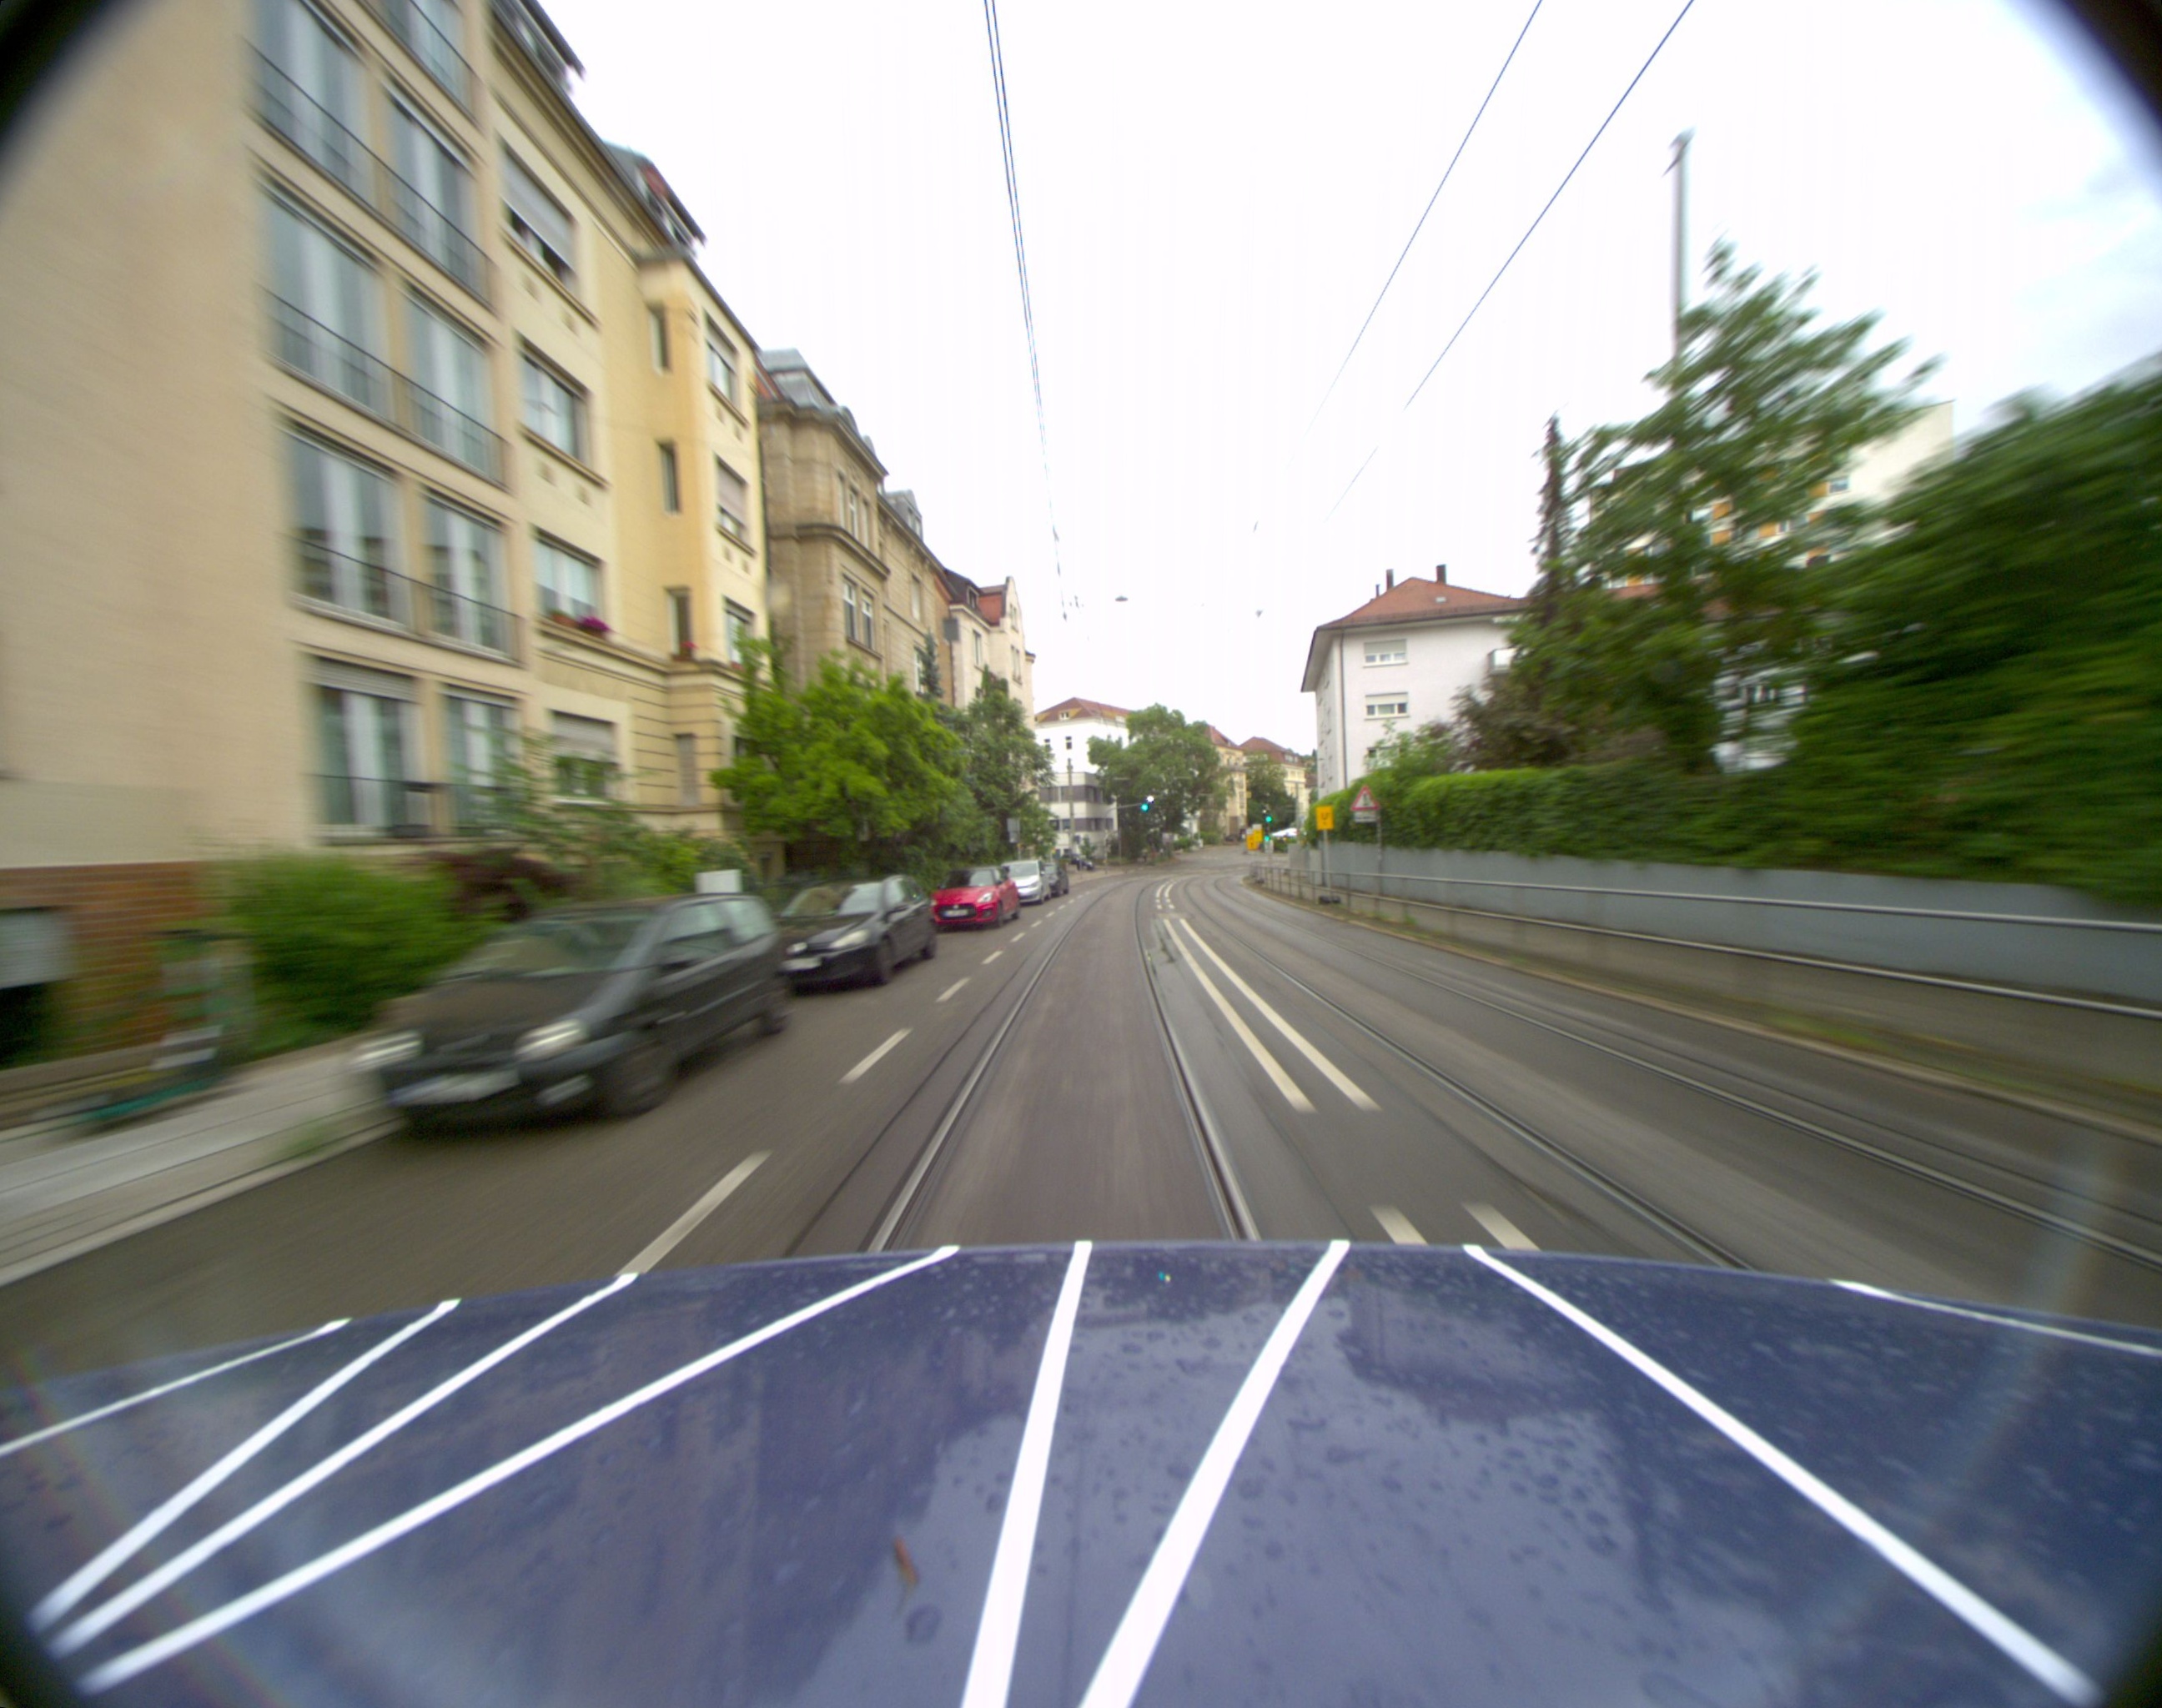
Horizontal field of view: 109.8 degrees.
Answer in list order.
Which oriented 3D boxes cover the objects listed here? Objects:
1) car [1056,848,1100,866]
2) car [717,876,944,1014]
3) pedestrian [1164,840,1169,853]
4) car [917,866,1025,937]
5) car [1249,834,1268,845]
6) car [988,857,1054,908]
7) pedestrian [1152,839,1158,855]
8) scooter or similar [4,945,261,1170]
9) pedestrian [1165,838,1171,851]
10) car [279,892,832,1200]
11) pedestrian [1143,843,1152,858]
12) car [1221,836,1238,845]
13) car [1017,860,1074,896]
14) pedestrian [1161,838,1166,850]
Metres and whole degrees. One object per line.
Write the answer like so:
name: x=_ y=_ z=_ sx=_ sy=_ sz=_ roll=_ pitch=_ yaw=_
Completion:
car: x=-0.244 y=0.283 z=69.628 sx=3.662 sy=1.500 sz=1.739 roll=1 pitch=2 yaw=17
car: x=-3.325 y=1.138 z=10.995 sx=1.687 sy=1.428 sz=4.065 roll=-3 pitch=0 yaw=3
pedestrian: x=10.964 y=-0.936 z=97.587 sx=0.544 sy=1.620 sz=0.603 roll=-1 pitch=-1 yaw=25
car: x=-2.630 y=1.105 z=19.023 sx=1.725 sy=1.428 sz=3.842 roll=-3 pitch=0 yaw=5
car: x=26.063 y=-2.145 z=111.653 sx=1.689 sy=1.434 sz=3.810 roll=1 pitch=2 yaw=30
car: x=-2.092 y=0.966 z=27.668 sx=1.770 sy=1.594 sz=4.289 roll=-2 pitch=0 yaw=3
pedestrian: x=8.832 y=-0.817 z=90.985 sx=0.542 sy=1.913 sz=0.917 roll=-1 pitch=3 yaw=13
scooter or similar: x=-6.425 y=1.307 z=5.235 sx=0.470 sy=1.227 sz=1.198 roll=0 pitch=-1 yaw=-14
pedestrian: x=10.913 y=-1.200 z=95.430 sx=0.547 sy=1.556 sz=0.600 roll=0 pitch=-1 yaw=-41
car: x=-3.654 y=1.190 z=6.415 sx=1.560 sy=1.428 sz=4.303 roll=-3 pitch=0 yaw=1
pedestrian: x=7.301 y=-0.384 z=83.063 sx=0.743 sy=1.690 sz=0.674 roll=3 pitch=1 yaw=20
car: x=25.345 y=-2.339 z=129.839 sx=1.596 sy=1.333 sz=3.642 roll=-1 pitch=-1 yaw=33
car: x=-1.468 y=1.016 z=32.922 sx=1.769 sy=1.382 sz=4.003 roll=-3 pitch=-1 yaw=7
pedestrian: x=10.304 y=-1.205 z=94.904 sx=0.386 sy=1.498 sz=0.537 roll=-3 pitch=4 yaw=-38
